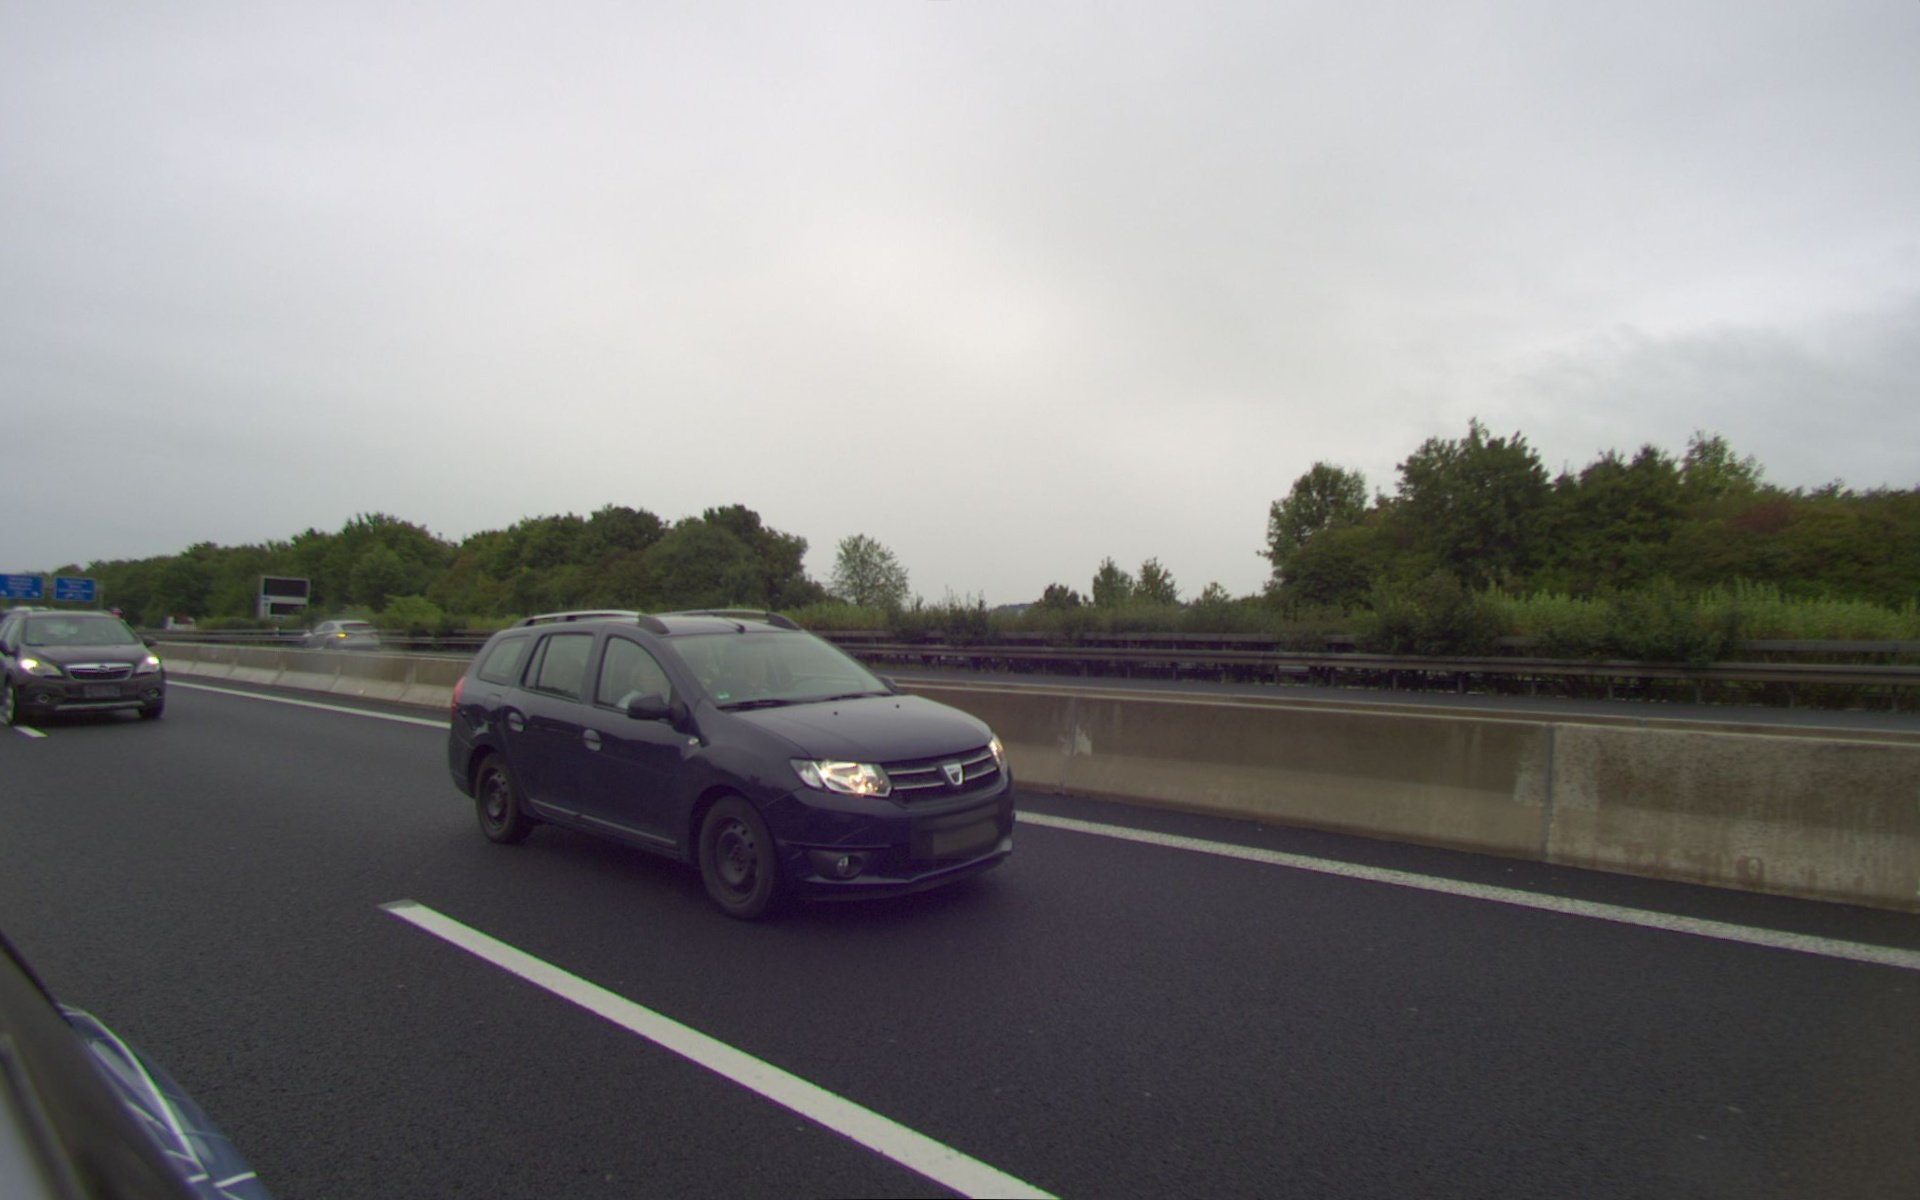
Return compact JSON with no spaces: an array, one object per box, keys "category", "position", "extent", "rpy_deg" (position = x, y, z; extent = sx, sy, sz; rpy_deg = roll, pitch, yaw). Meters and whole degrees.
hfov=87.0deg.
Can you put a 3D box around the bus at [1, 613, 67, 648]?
[{"category":"bus","position":[-81.855,2.634,89.379],"extent":[11.888,2.981,2.671],"rpy_deg":[-1,-2,40]}]

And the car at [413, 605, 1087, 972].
[{"category":"car","position":[-1.584,0.812,6.314],"extent":[4.565,1.501,1.703],"rpy_deg":[-1,-2,41]}]

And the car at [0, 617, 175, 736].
[{"category":"car","position":[-13.688,1.059,15.482],"extent":[3.830,1.592,1.790],"rpy_deg":[-1,-2,39]}]

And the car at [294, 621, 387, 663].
[{"category":"car","position":[-25.798,1.709,42.080],"extent":[4.598,1.662,1.873],"rpy_deg":[-1,-2,40]}]

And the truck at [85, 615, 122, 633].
[{"category":"truck","position":[-108.990,3.075,128.786],"extent":[6.145,2.259,2.007],"rpy_deg":[-1,-2,35]}]
